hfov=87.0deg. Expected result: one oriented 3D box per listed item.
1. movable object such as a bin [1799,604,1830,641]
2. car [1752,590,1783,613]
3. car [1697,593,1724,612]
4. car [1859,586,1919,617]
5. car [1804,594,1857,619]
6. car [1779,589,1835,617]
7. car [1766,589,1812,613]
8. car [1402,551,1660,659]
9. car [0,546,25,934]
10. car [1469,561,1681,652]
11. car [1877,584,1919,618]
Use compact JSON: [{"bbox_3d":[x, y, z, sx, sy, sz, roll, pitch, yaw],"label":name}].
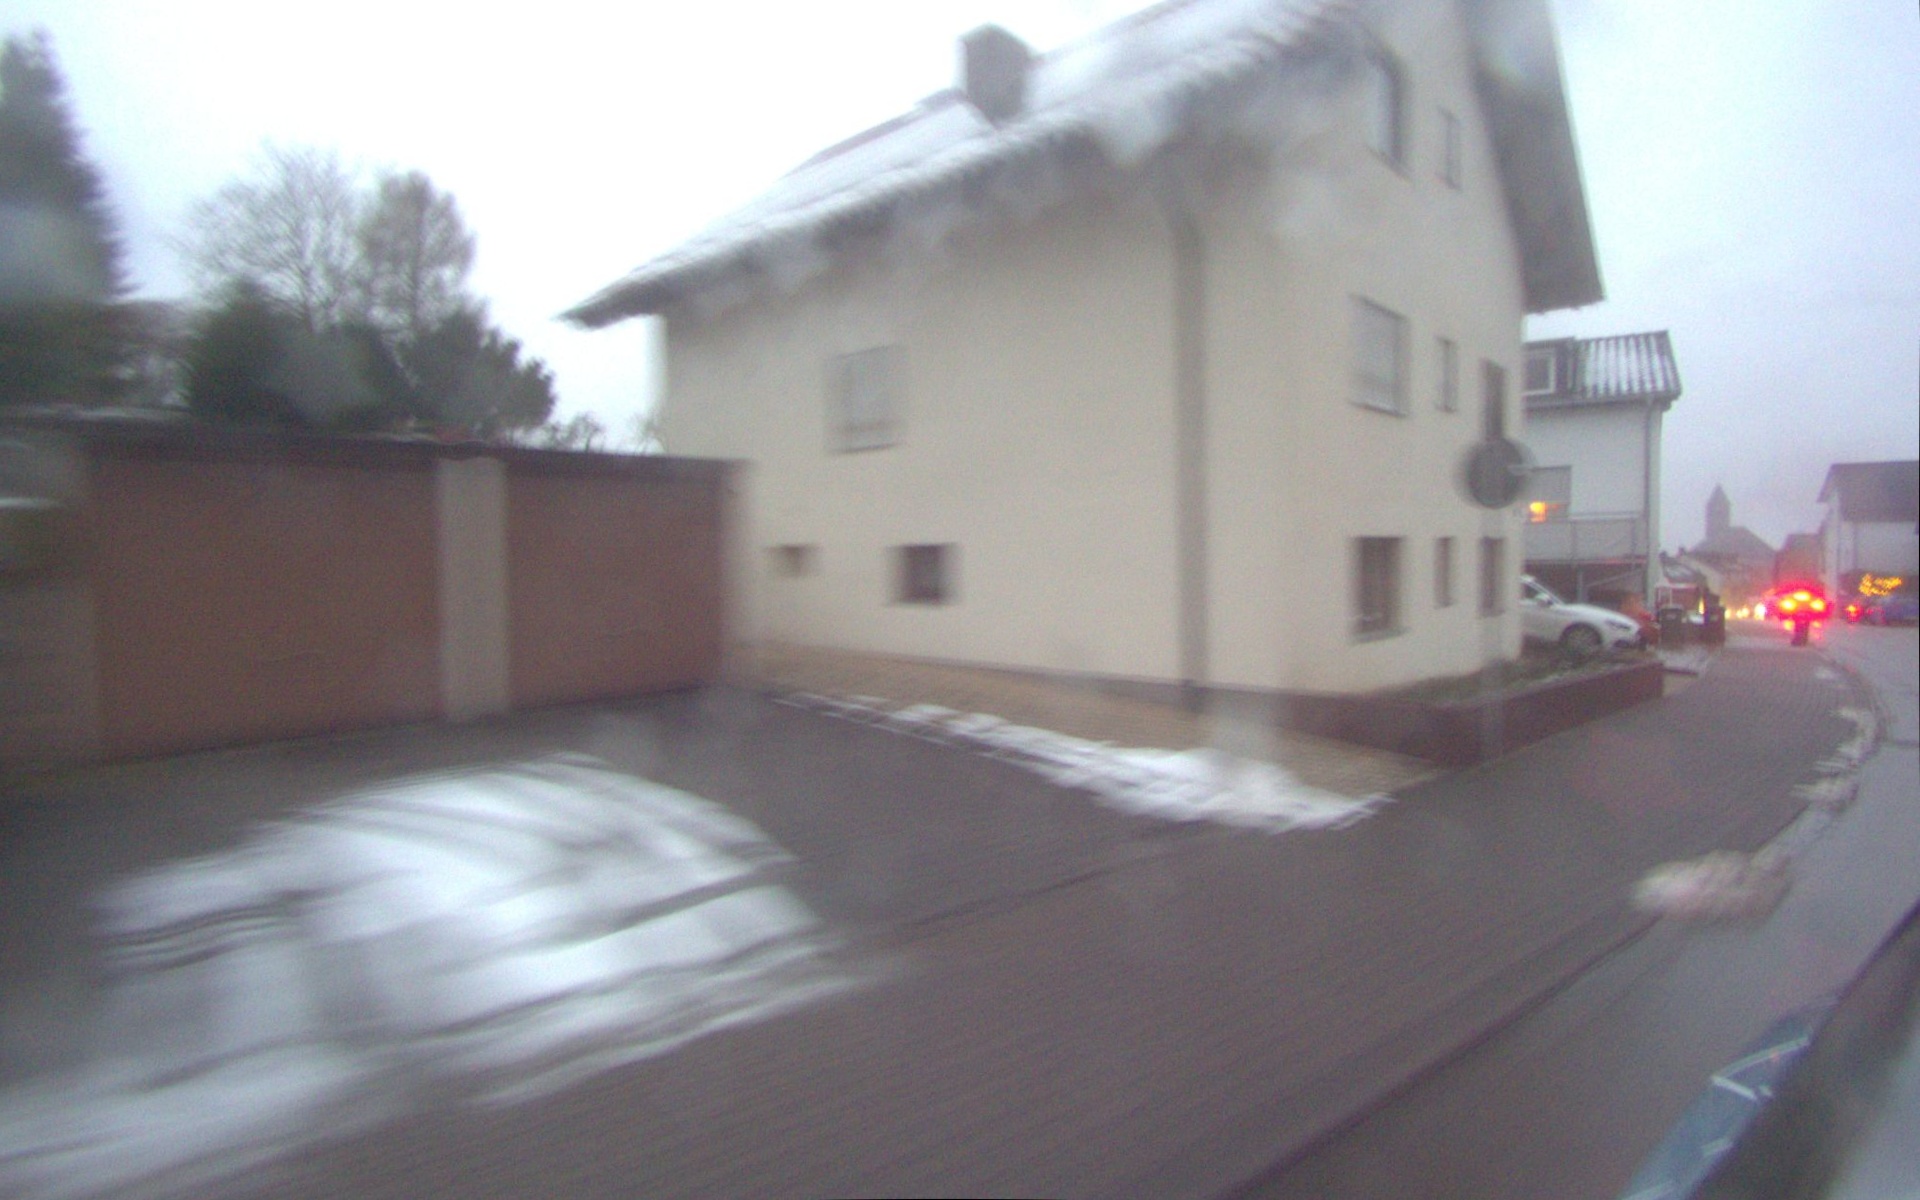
[{"bbox_3d":[24.357,0.639,28.855,0.613,0.957,0.586,5,5,39],"label":"movable object such as a bin"},{"bbox_3d":[67.884,0.131,85.117,1.766,1.815,4.075,2,0,36],"label":"car"},{"bbox_3d":[66.456,0.215,89.685,1.746,1.514,4.196,2,1,35],"label":"car"},{"bbox_3d":[44.813,0.059,48.670,1.657,1.435,3.650,-1,0,31],"label":"car"},{"bbox_3d":[53.900,0.360,62.722,1.726,1.462,4.390,1,1,31],"label":"car"},{"bbox_3d":[49.012,0.149,58.634,1.765,1.514,4.331,2,1,31],"label":"car"},{"bbox_3d":[60.135,0.047,73.442,1.909,1.644,4.374,2,1,31],"label":"car"},{"bbox_3d":[11.662,0.015,20.833,4.279,1.473,1.754,11,8,39],"label":"car"},{"bbox_3d":[-4.683,0.525,3.538,1.966,1.461,4.513,0,2,-42],"label":"car"},{"bbox_3d":[14.365,0.095,23.784,3.978,1.473,1.670,10,6,33],"label":"car"},{"bbox_3d":[42.501,0.056,45.170,1.661,1.427,3.868,1,0,33],"label":"car"}]
